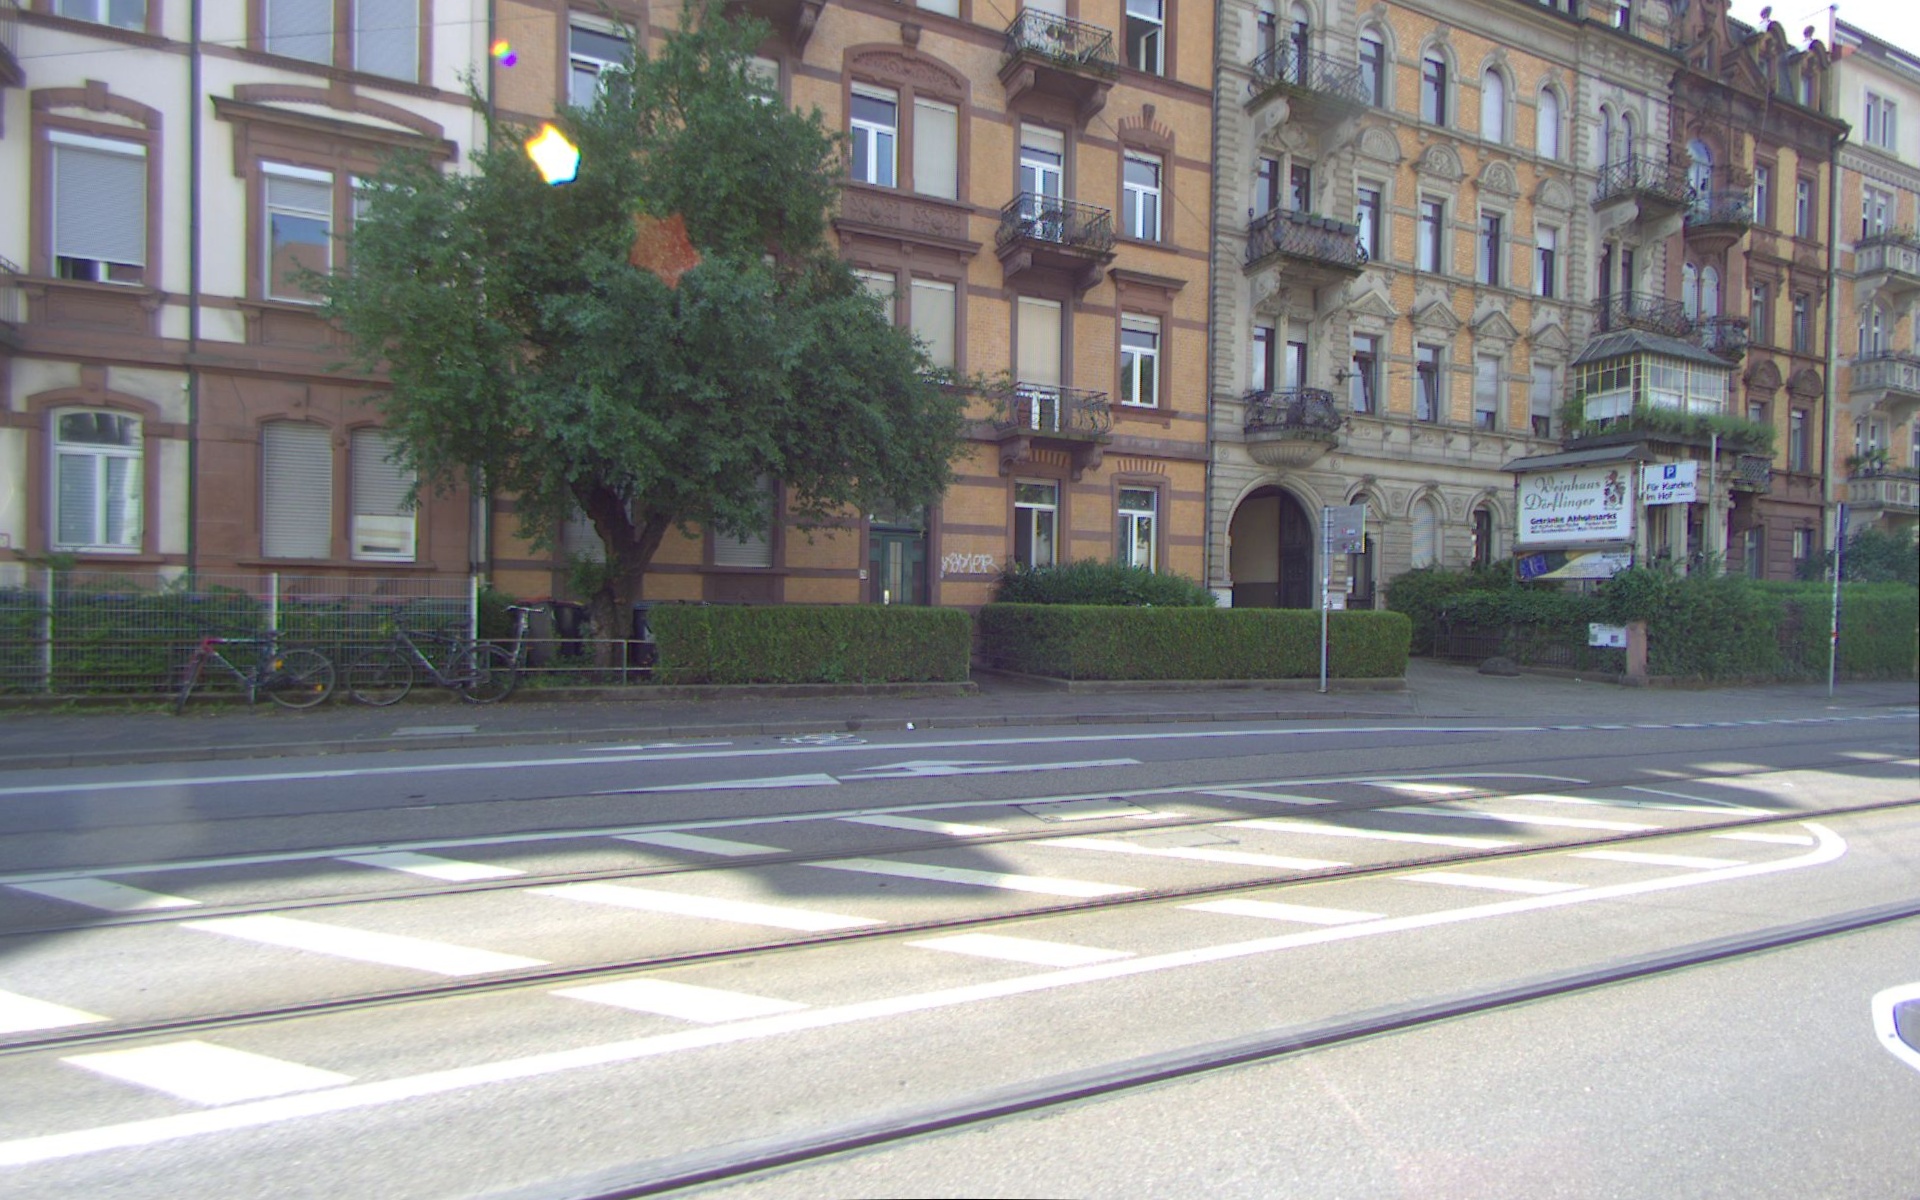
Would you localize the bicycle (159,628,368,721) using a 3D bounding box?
[{"bbox_3d":[-7.625,0.799,11.089,1.798,0.945,0.558,1,0,-22],"label":"bicycle"}]

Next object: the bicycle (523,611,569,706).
[{"bbox_3d":[-5.392,0.729,13.053,0.490,1.146,1.301,1,0,-25],"label":"bicycle"}]

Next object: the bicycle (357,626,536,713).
[{"bbox_3d":[-5.961,0.794,11.762,1.798,0.945,0.558,1,0,-22],"label":"bicycle"}]
